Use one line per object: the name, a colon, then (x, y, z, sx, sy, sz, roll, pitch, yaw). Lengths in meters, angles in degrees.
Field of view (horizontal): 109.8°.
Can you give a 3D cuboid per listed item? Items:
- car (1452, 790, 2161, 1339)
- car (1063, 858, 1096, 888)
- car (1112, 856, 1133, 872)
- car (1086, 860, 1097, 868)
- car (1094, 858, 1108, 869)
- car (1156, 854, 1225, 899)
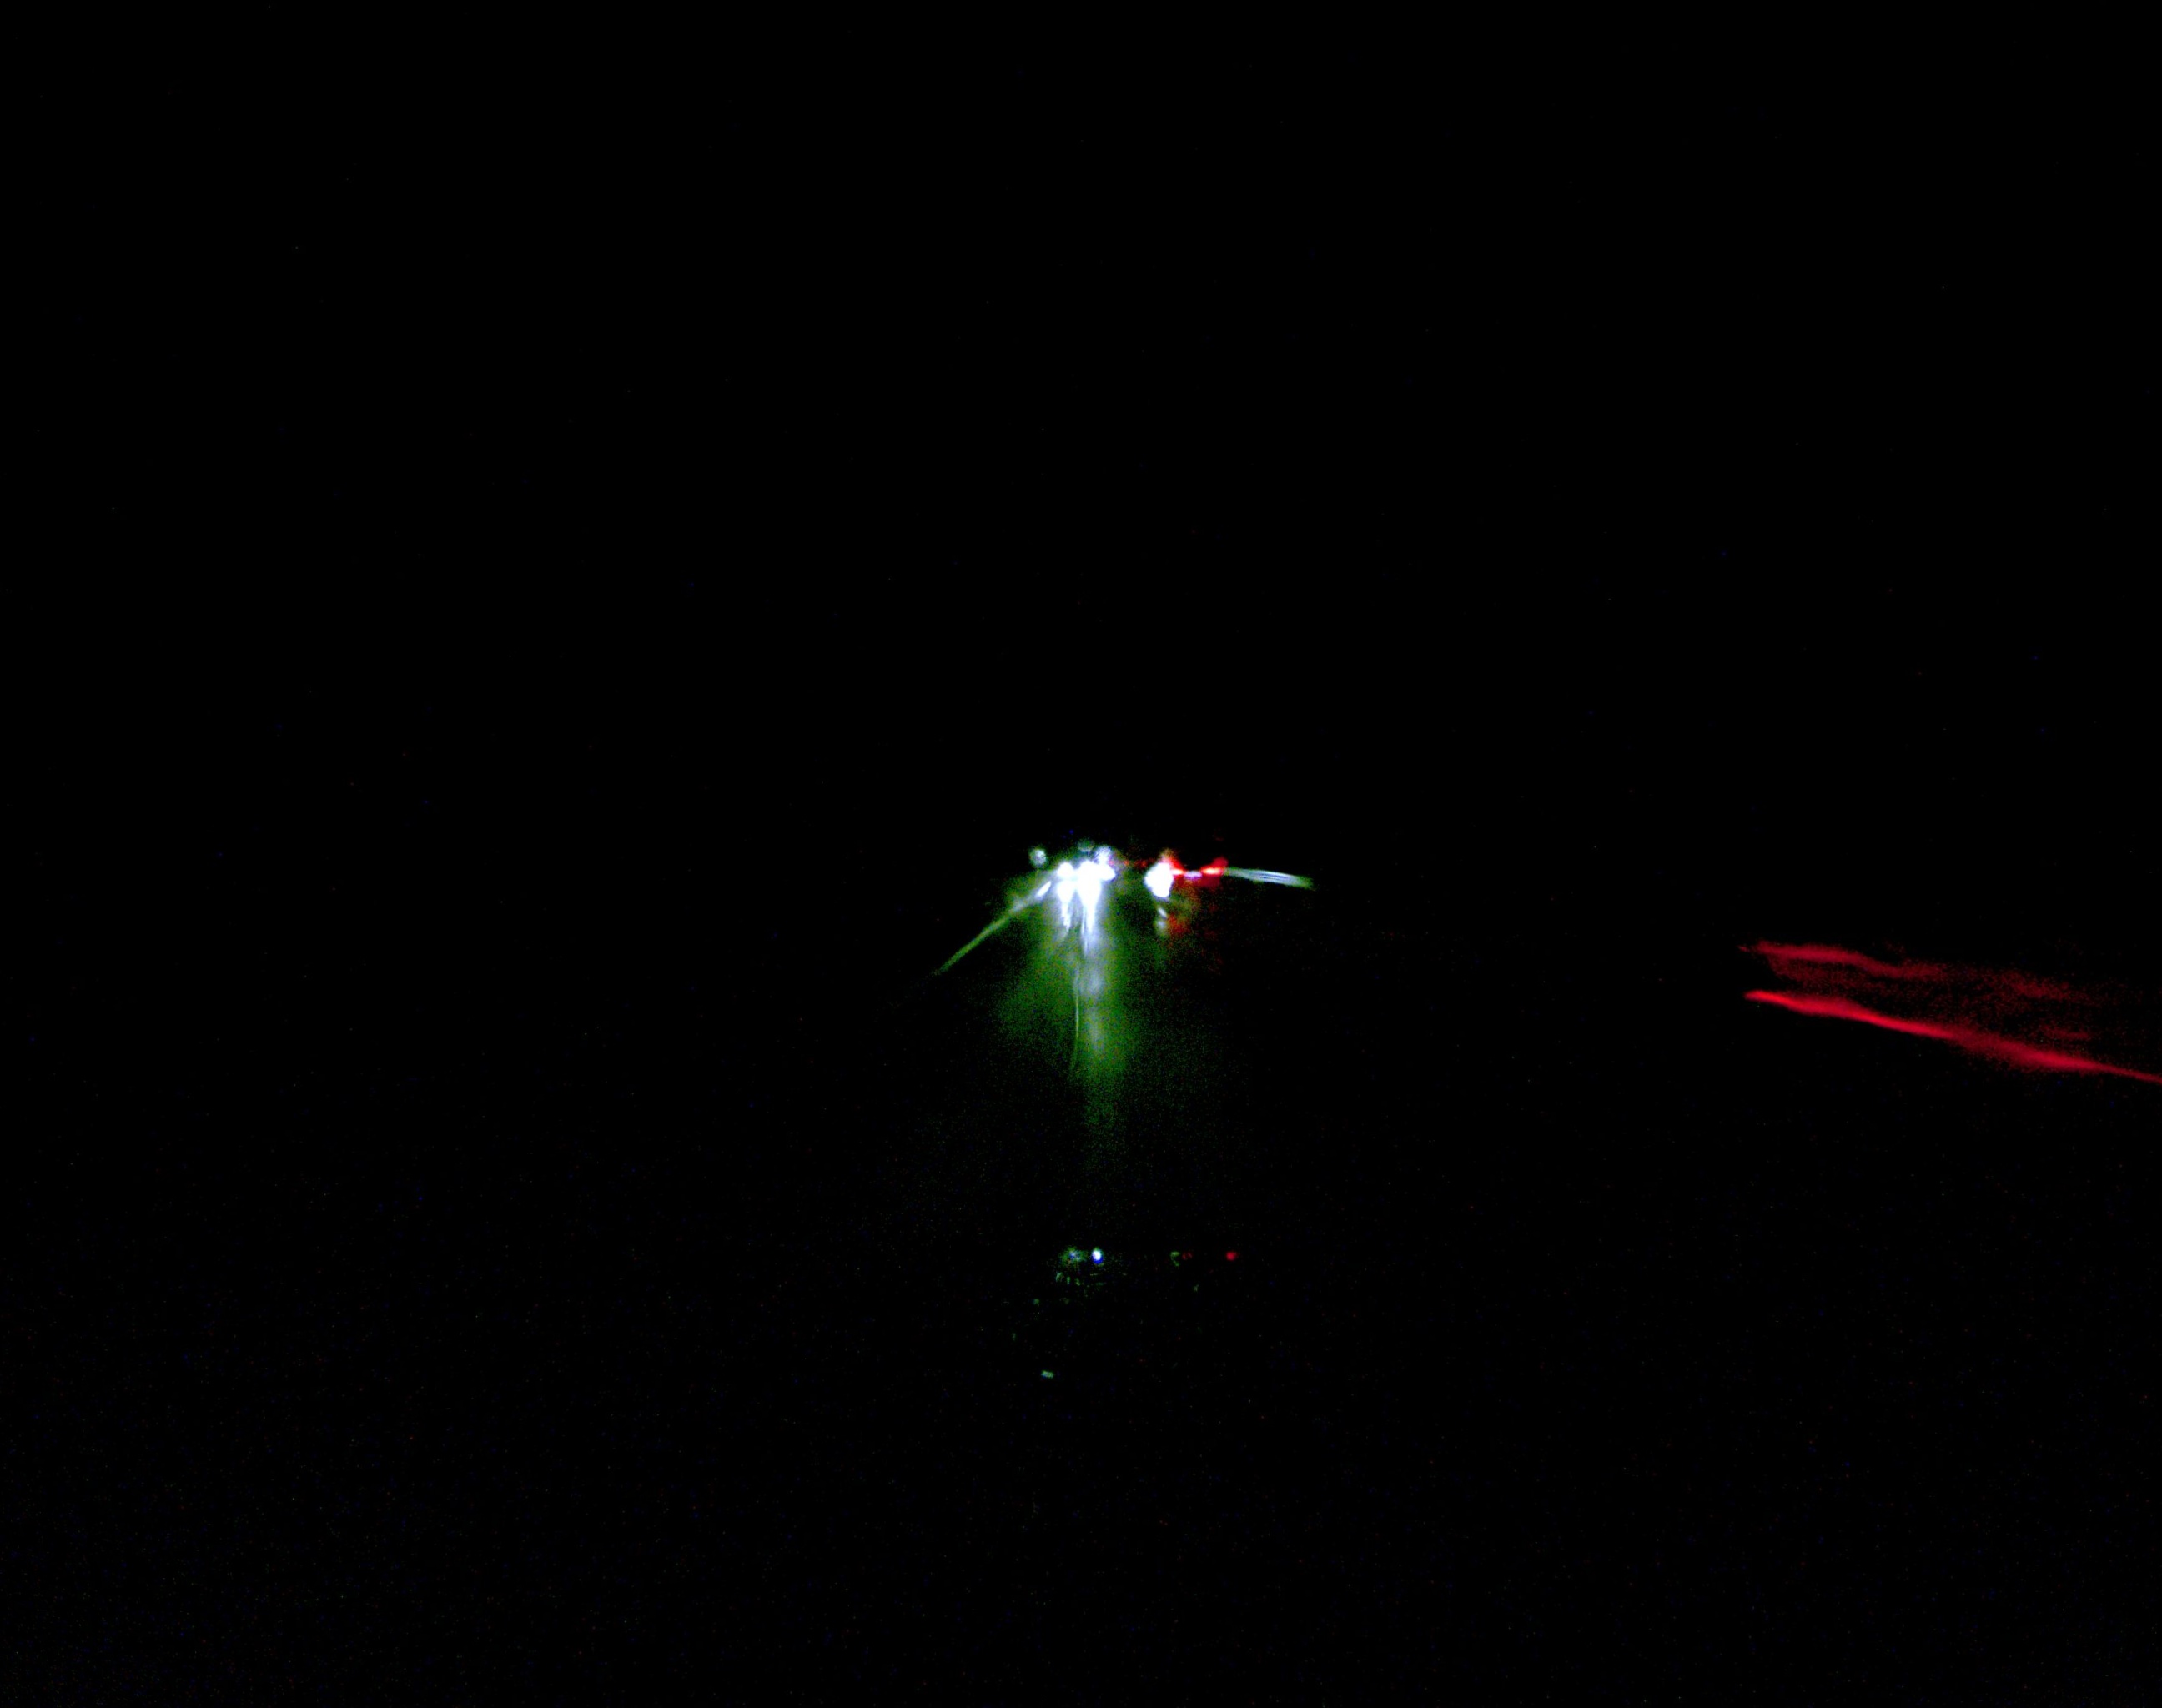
car: (3.966, 0.647, 4.184, 1.936, 1.577, 4.001, 0, -1, 1)
car: (-0.077, 1.269, 52.424, 1.998, 1.804, 4.000, -3, 0, 2)
car: (3.833, 0.938, 71.116, 1.720, 1.462, 3.708, -1, -1, 0)
car: (1.887, 1.805, 138.524, 1.649, 1.417, 4.122, -3, -1, -3)
car: (2.852, 1.360, 108.346, 1.720, 1.508, 3.878, -3, -1, 0)
car: (3.688, 0.769, 26.273, 1.833, 1.447, 3.793, 0, -1, 0)
